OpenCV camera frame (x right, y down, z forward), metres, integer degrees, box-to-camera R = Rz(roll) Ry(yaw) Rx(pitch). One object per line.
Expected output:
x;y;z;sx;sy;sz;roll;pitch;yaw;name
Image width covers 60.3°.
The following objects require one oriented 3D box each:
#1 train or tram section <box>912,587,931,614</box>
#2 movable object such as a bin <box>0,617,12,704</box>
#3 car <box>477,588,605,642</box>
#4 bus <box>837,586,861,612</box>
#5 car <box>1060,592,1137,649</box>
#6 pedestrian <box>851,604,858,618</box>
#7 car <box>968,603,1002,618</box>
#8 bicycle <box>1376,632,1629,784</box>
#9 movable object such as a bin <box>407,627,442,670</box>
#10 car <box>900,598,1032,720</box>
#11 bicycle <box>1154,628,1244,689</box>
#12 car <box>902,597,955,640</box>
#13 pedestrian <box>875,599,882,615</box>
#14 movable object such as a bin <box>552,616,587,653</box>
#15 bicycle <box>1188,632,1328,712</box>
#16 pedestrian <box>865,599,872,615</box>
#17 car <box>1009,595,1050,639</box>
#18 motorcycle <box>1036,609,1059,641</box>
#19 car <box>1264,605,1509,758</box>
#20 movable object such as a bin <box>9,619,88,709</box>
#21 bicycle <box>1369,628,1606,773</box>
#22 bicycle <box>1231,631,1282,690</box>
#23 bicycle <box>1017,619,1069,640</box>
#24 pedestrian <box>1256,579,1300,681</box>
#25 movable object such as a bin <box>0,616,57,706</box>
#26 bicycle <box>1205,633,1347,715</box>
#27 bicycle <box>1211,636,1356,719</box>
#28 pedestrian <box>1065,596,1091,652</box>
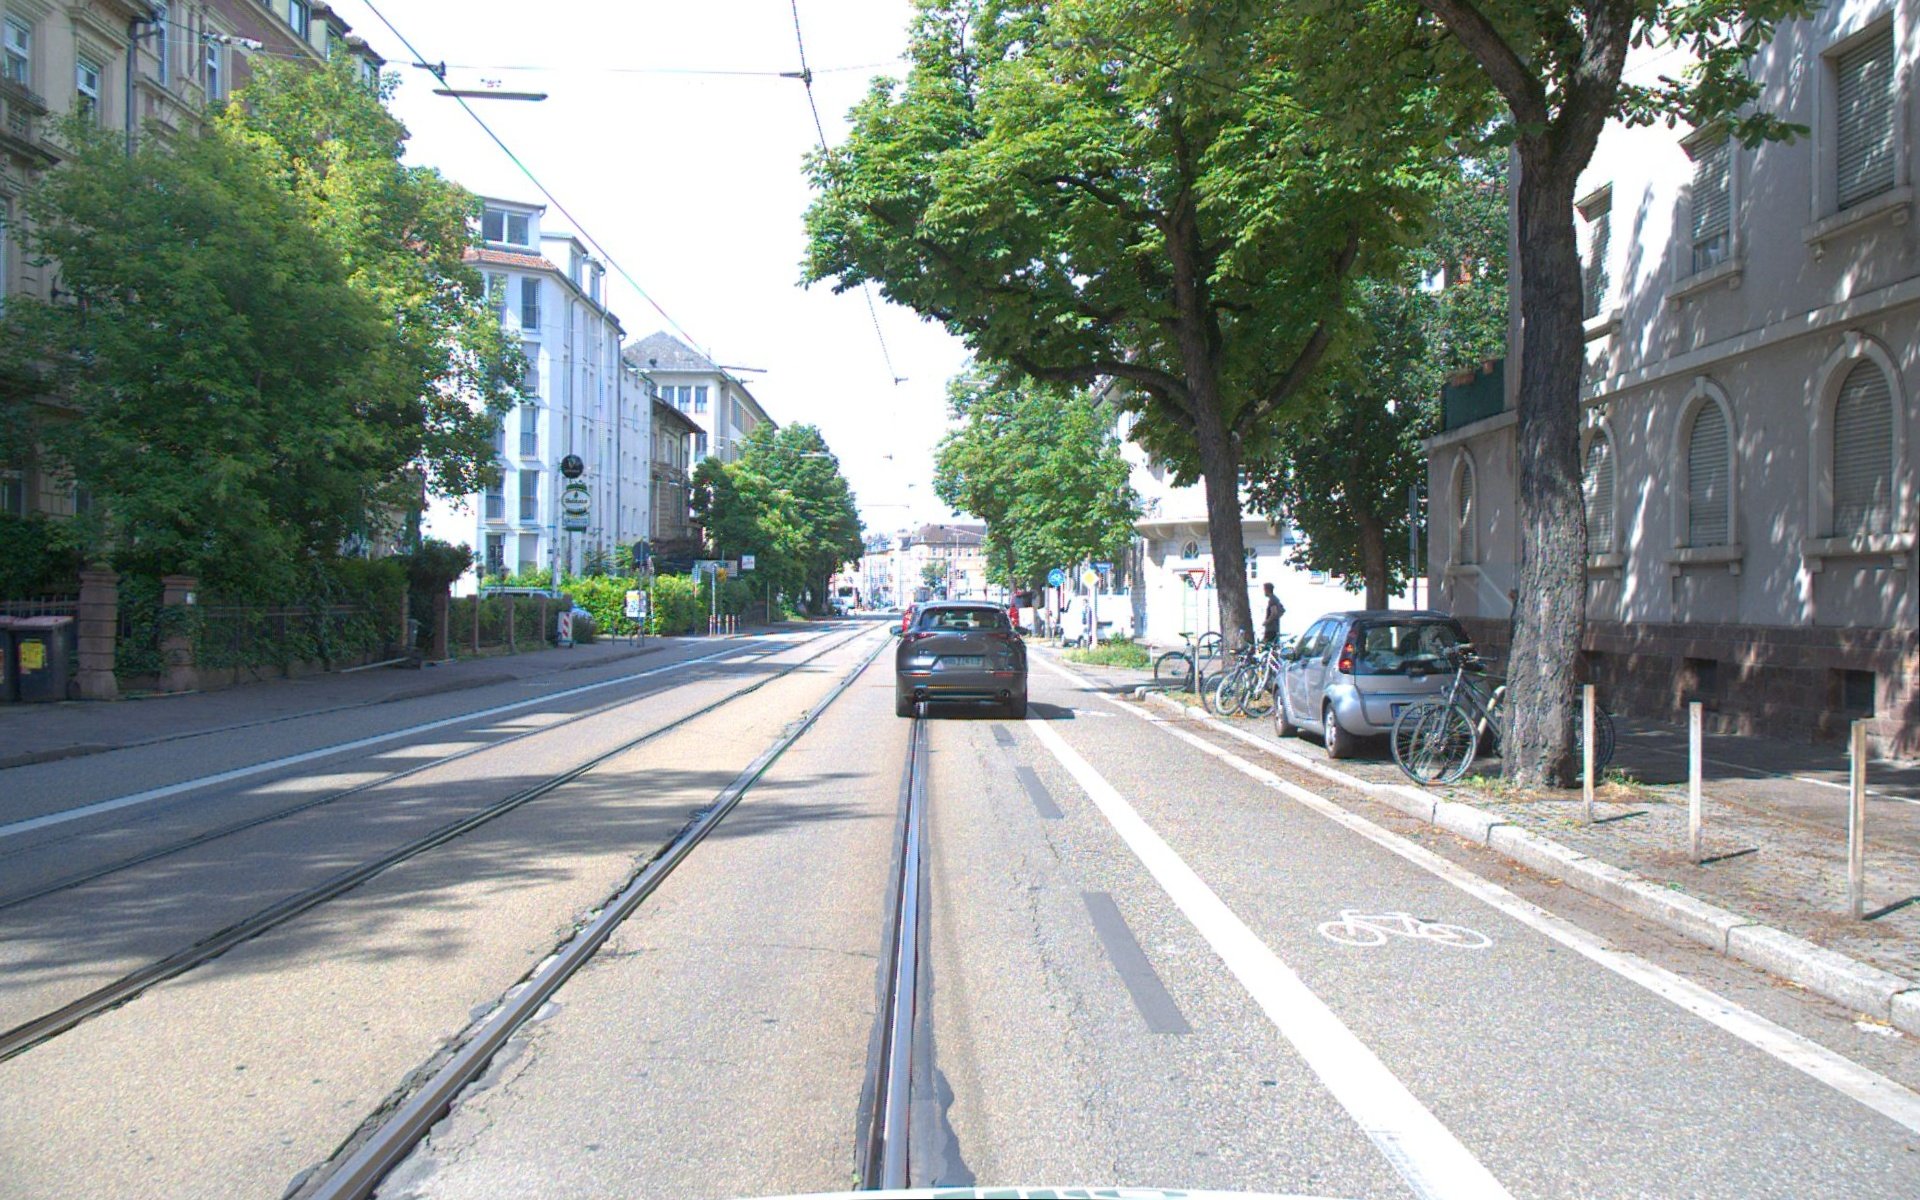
-5.585;0.096;241.478;2.519;3.839;13.023;0;0;-1;train or tram section
-12.781;0.792;21.404;0.537;1.127;0.790;0;0;3;movable object such as a bin
-16.568;0.577;65.496;4.566;2.049;2.047;0;0;21;car
-15.801;-0.172;235.510;2.637;3.481;11.000;3;0;-7;bus
4.941;0.709;59.687;1.753;1.972;4.983;0;0;-7;car
-12.089;1.245;189.682;0.736;1.537;0.823;0;0;-6;pedestrian
3.044;1.328;201.568;3.749;1.646;1.628;3;-1;-19;car
4.401;0.874;13.518;1.895;1.196;0.513;-1;-1;10;bicycle
-11.431;1.037;35.330;0.551;0.891;0.616;0;0;-1;movable object such as a bin
0.037;0.764;23.007;1.686;1.553;3.588;0;0;-2;car
3.979;0.979;27.567;1.460;1.000;0.259;0;-1;1;bicycle
-1.270;0.713;65.677;1.953;1.555;3.999;3;0;-2;car
-10.562;0.912;214.271;0.867;2.049;0.617;0;0;-5;pedestrian
-11.285;0.998;47.870;0.730;1.005;1.114;3;0;-1;movable object such as a bin
4.139;1.000;23.026;1.865;1.091;0.402;0;-1;-1;bicycle
-11.799;0.959;214.214;0.867;2.049;0.617;0;0;-5;pedestrian
3.208;0.764;76.586;1.685;2.003;4.206;0;0;-1;car
3.656;1.050;69.042;0.778;1.293;2.421;0;0;-2;motorcycle
4.549;0.813;18.167;1.632;1.455;3.765;-2;0;-1;car
-11.683;0.808;21.219;0.526;1.113;0.790;0;0;3;movable object such as a bin
4.456;0.847;14.068;1.853;1.196;0.513;-1;-1;10;bicycle
4.908;0.986;27.420;0.253;0.916;1.768;0;-1;-9;bicycle
3.657;1.292;72.900;2.229;0.876;0.671;0;0;-2;bicycle
5.952;0.568;30.947;0.598;1.868;0.878;0;-2;-3;pedestrian
-12.218;0.781;21.458;0.537;1.127;0.790;0;0;3;movable object such as a bin
4.314;1.013;22.612;1.865;1.091;0.402;0;-1;-1;bicycle
4.332;1.036;22.189;1.865;1.091;0.402;0;-1;-1;bicycle
4.043;0.817;56.678;0.798;1.868;0.962;1;0;-2;pedestrian
